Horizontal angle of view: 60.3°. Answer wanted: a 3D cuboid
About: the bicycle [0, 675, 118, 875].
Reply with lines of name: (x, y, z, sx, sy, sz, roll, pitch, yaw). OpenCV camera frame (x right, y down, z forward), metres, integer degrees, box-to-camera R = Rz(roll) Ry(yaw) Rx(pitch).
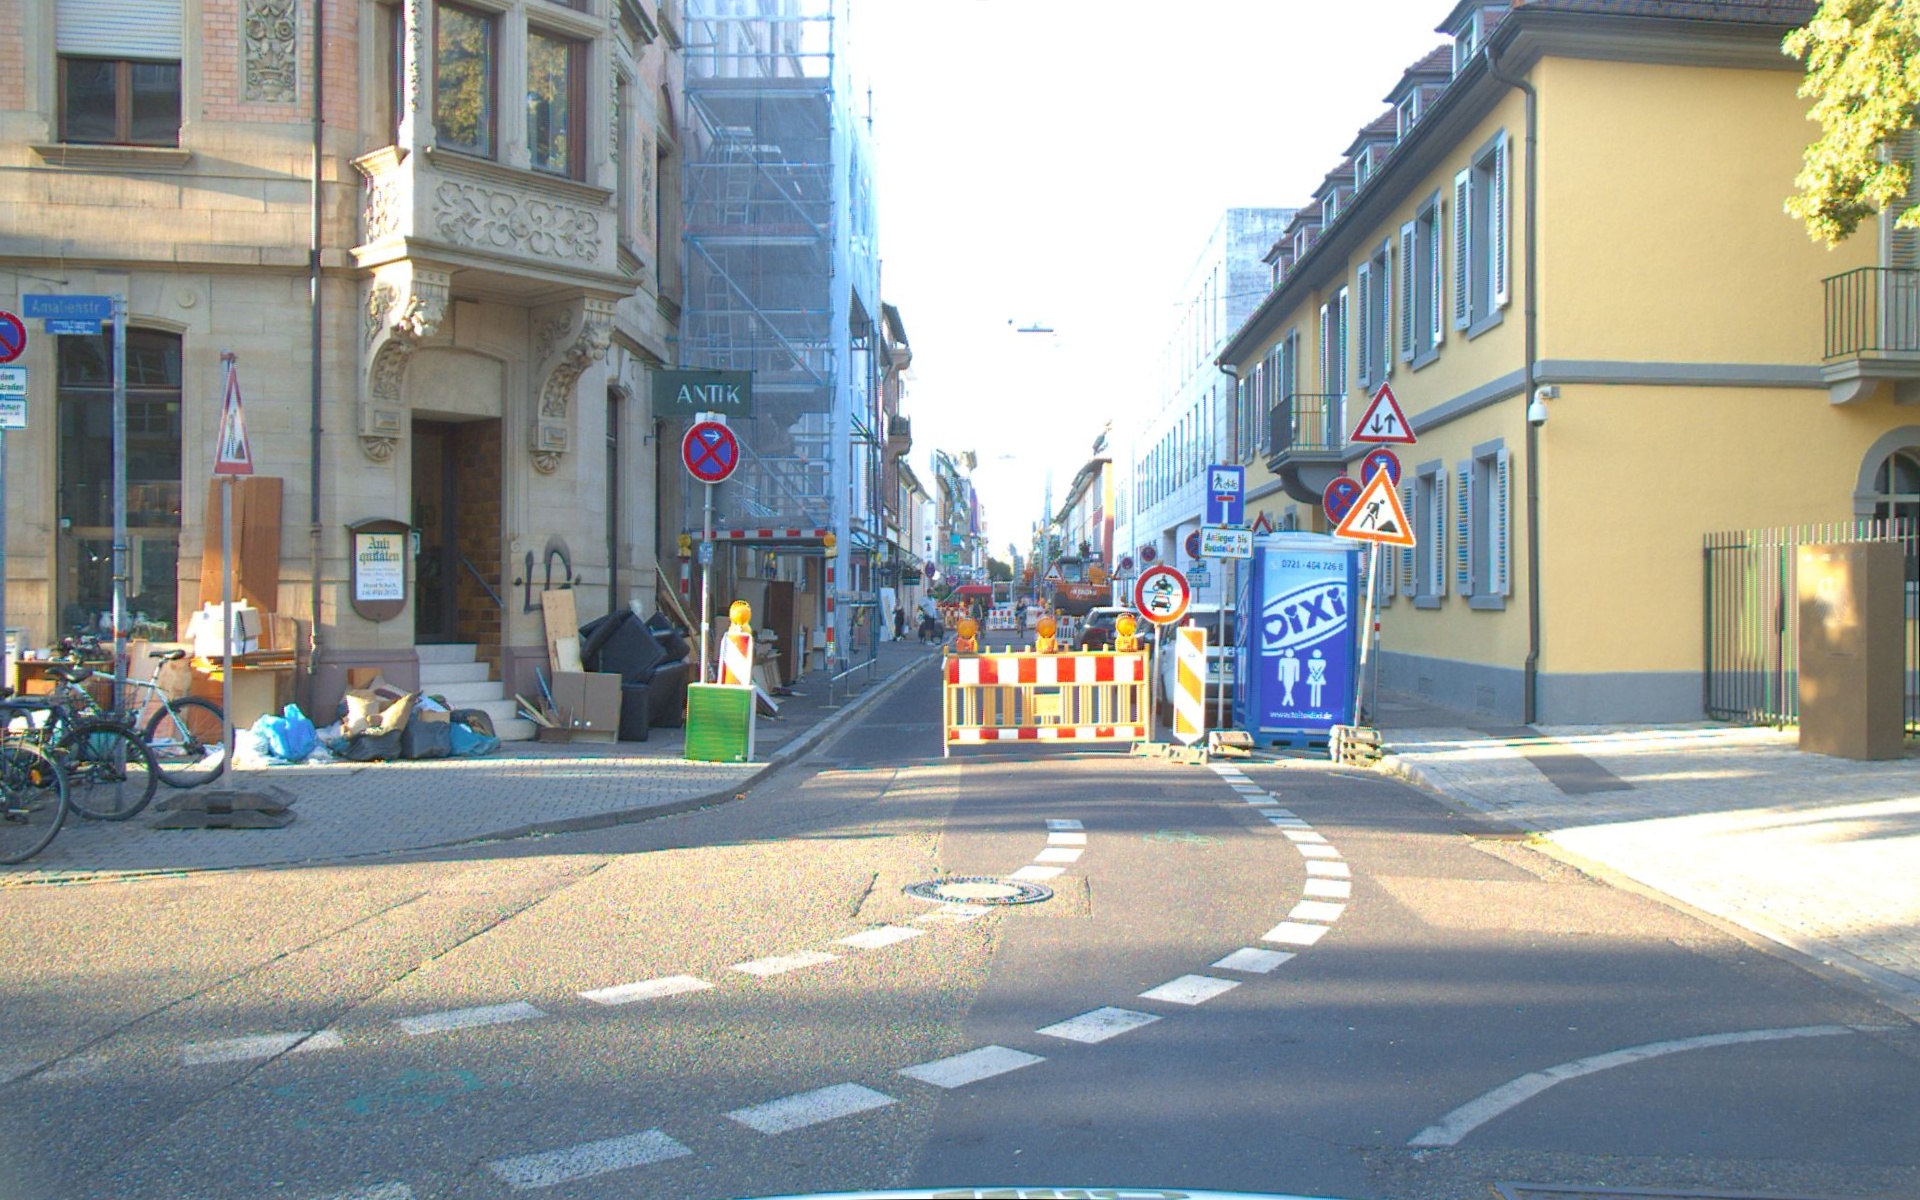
bicycle: (-5.793, 0.974, 9.297, 1.791, 1.065, 0.571, 0, 0, -6)

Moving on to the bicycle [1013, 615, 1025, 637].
bicycle: (2.485, 1.077, 70.003, 0.494, 0.899, 1.477, 0, 0, 2)

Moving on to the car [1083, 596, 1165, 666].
car: (3.739, 0.679, 38.171, 1.682, 1.546, 3.222, 0, 0, 2)

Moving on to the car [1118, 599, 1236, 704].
car: (3.415, 0.761, 26.541, 1.508, 1.546, 3.980, 0, 0, 2)

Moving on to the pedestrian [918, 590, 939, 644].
pedestrian: (-1.073, 0.565, 55.567, 0.501, 1.795, 0.505, 0, 0, -39)

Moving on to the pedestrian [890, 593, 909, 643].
pedestrian: (-2.169, 0.650, 59.061, 0.662, 1.763, 0.699, 1, -1, -2)

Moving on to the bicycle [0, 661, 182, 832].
bicycle: (-6.047, 0.929, 10.617, 1.793, 1.031, 0.638, 0, 0, -10)

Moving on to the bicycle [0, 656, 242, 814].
bicycle: (-6.163, 0.920, 11.473, 2.065, 1.031, 0.638, 0, 0, -10)

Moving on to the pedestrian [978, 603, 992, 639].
pedestrian: (1.044, 0.885, 69.133, 0.494, 1.487, 0.513, 0, 0, 8)

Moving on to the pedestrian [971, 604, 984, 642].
pedestrian: (0.702, 0.919, 66.134, 0.494, 1.487, 0.512, 0, 0, 2)

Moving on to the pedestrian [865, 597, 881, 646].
pedestrian: (-2.828, 0.705, 53.807, 0.335, 1.594, 0.420, 0, -1, 23)

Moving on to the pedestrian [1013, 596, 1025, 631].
pedestrian: (2.484, 0.562, 69.909, 0.494, 1.487, 0.512, 0, 0, 2)

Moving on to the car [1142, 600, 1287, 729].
car: (3.294, 0.789, 21.895, 1.508, 1.546, 3.222, 1, 0, 2)

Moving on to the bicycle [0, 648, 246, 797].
bicycle: (-6.460, 0.897, 12.284, 2.065, 1.058, 0.464, 0, 0, -10)
